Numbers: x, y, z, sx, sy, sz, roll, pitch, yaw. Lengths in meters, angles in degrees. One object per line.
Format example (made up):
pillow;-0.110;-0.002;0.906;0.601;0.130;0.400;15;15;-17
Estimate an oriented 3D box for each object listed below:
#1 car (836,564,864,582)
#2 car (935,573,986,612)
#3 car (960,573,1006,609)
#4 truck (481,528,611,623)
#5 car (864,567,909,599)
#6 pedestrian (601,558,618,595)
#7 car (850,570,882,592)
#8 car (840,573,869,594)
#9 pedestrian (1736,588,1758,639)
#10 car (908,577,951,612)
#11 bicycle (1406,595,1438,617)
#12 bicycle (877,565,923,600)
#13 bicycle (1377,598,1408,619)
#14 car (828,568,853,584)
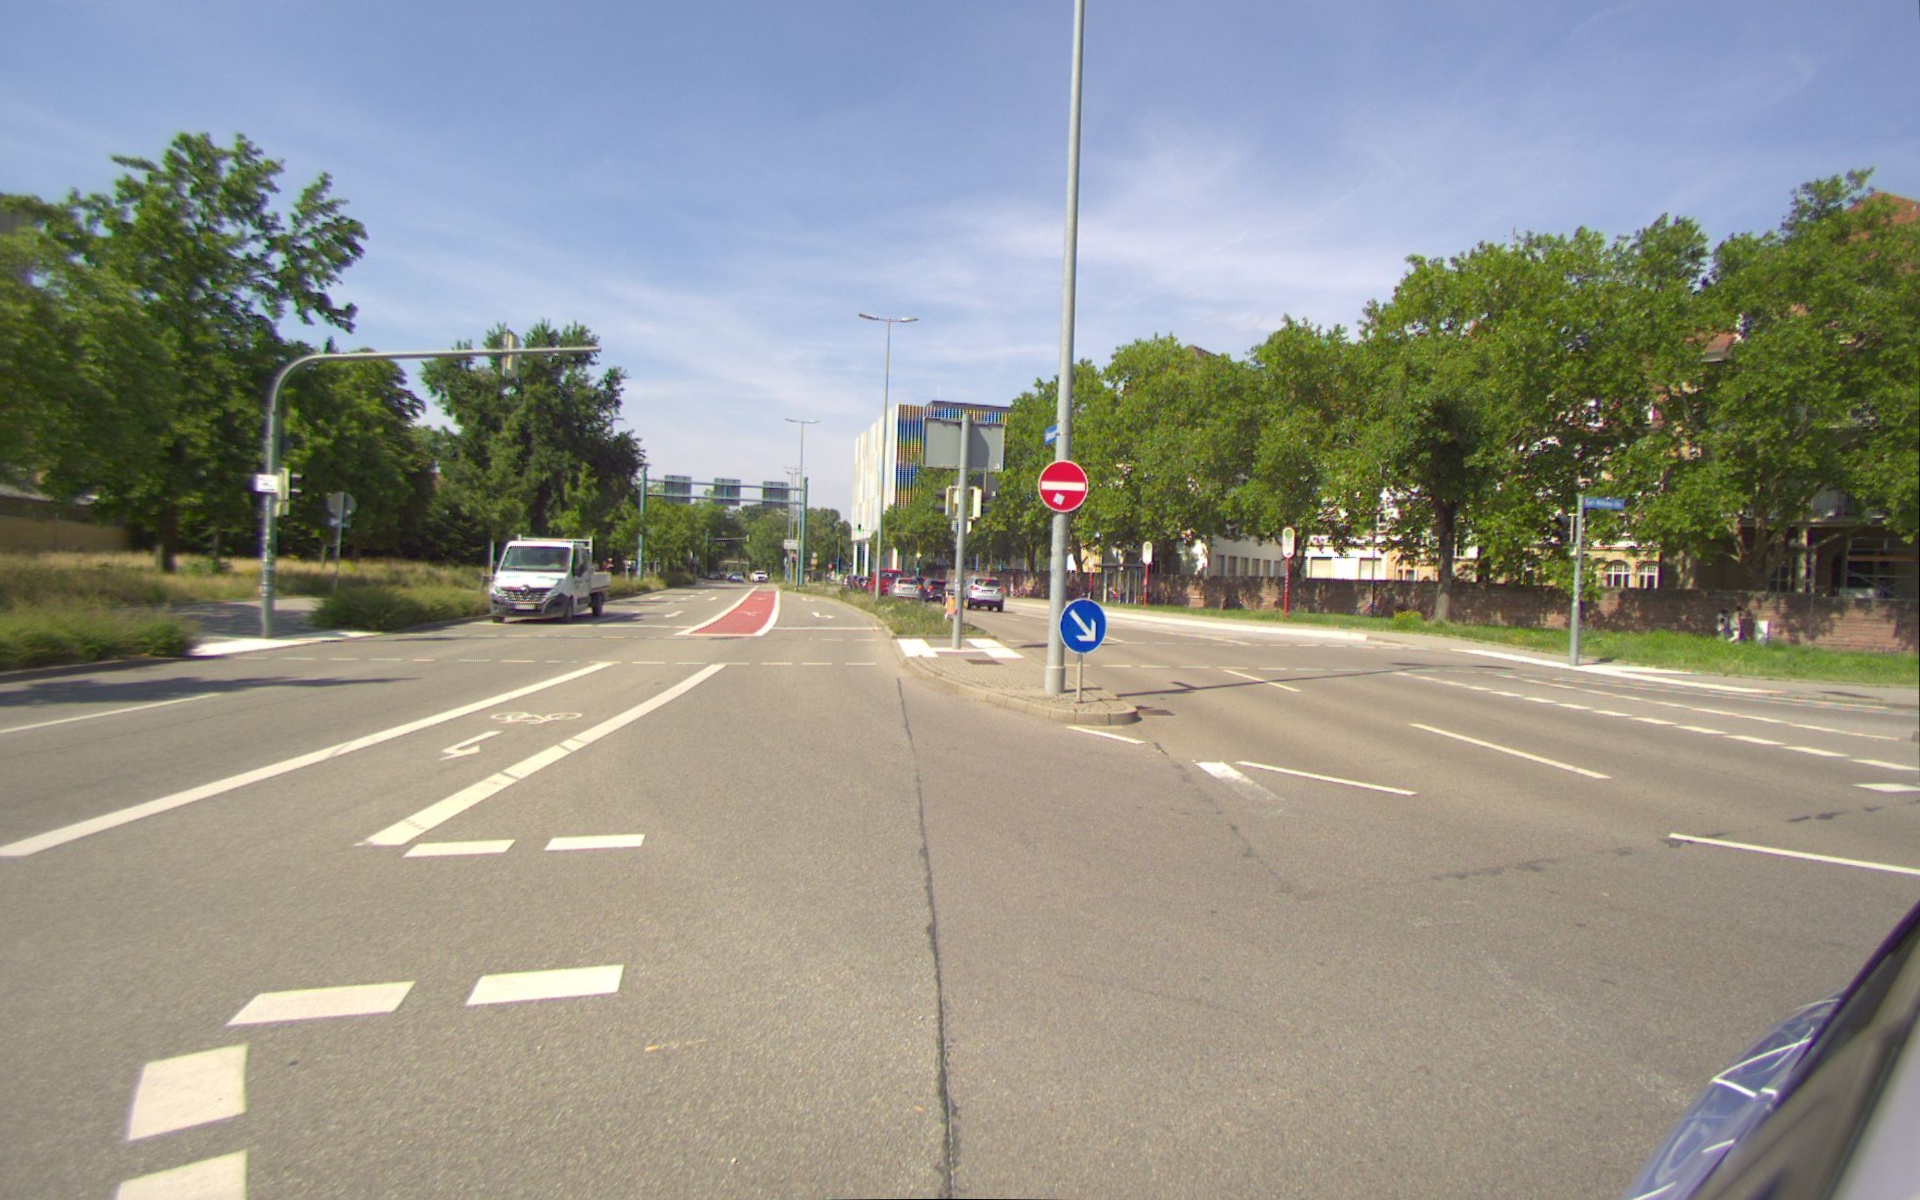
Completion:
car;-9.556;-2.346;87.867;1.762;1.529;4.009;0;2;-15
car;-0.004;-0.373;56.127;1.958;2.039;4.007;2;-1;-12
car;1.078;-0.477;50.188;1.677;1.638;4.223;2;1;-6
truck;-11.792;-0.745;29.384;2.363;2.384;7.064;1;2;-13
car;-4.633;-1.105;63.132;1.937;1.819;4.622;2;1;-15
pedestrian;-24.763;-1.632;71.564;0.934;2.566;1.126;2;-2;-13
car;-6.857;-1.386;73.788;1.762;1.529;4.009;0;2;-13
car;-8.341;-1.327;79.853;1.762;1.529;4.009;0;2;-13
pedestrian;32.208;0.542;41.411;0.592;2.038;0.517;3;1;35
car;-1.942;-0.313;62.991;1.958;2.039;4.007;2;-1;-12
bicycle;24.303;0.317;53.210;0.440;1.046;1.447;2;2;-39
bicycle;-3.416;-0.996;57.145;1.958;1.837;4.009;2;1;-12
bicycle;23.303;0.460;54.565;0.440;1.046;1.447;2;2;-39
car;-11.245;-2.269;95.261;1.762;1.529;4.009;0;2;-15
